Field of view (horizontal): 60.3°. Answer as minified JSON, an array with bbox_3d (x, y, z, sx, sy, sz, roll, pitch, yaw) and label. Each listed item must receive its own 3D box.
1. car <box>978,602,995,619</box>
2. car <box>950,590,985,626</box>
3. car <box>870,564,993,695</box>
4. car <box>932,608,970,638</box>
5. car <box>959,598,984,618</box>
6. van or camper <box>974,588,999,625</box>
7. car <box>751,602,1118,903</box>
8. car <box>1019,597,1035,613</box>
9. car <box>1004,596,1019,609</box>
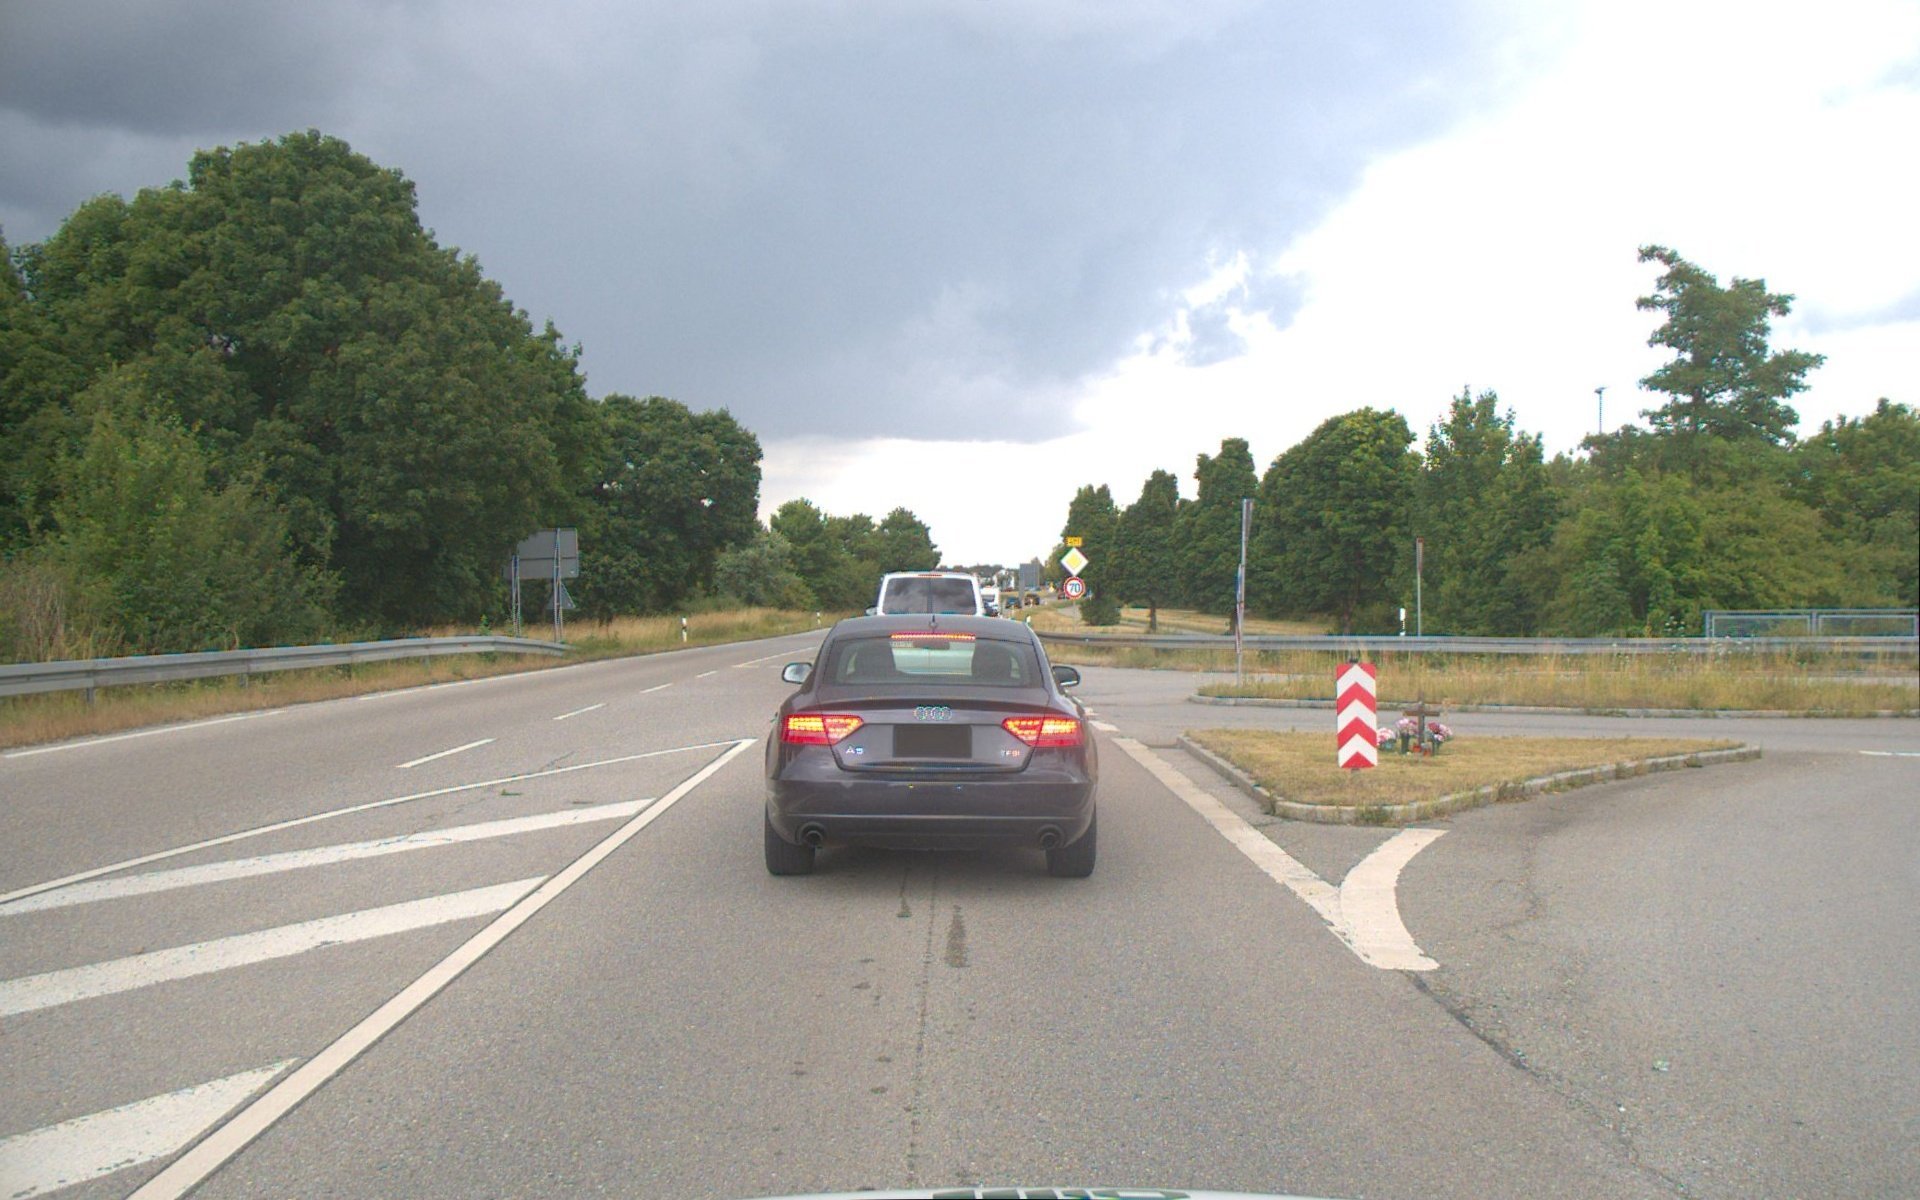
[{"bbox_3d":[2.270,0.896,140.699,1.231,1.377,3.468,0,0,5],"label":"car"},{"bbox_3d":[0.480,0.470,98.590,1.952,2.125,4.001,0,0,2],"label":"car"},{"bbox_3d":[-0.456,0.434,26.550,1.801,1.915,3.999,1,0,-1],"label":"car"},{"bbox_3d":[-0.423,1.141,84.024,1.758,1.490,3.249,0,0,3],"label":"car"},{"bbox_3d":[0.911,0.604,128.303,1.699,1.541,3.749,0,0,5],"label":"car"},{"bbox_3d":[2.583,0.612,159.081,2.292,3.542,5.719,0,0,1],"label":"van or camper"},{"bbox_3d":[-0.150,0.736,9.958,1.746,1.400,3.999,1,0,-1],"label":"car"},{"bbox_3d":[9.013,0.652,222.996,1.953,2.049,3.999,0,0,-1],"label":"car"},{"bbox_3d":[6.089,0.329,196.270,1.683,1.477,4.000,1,0,0],"label":"car"}]
